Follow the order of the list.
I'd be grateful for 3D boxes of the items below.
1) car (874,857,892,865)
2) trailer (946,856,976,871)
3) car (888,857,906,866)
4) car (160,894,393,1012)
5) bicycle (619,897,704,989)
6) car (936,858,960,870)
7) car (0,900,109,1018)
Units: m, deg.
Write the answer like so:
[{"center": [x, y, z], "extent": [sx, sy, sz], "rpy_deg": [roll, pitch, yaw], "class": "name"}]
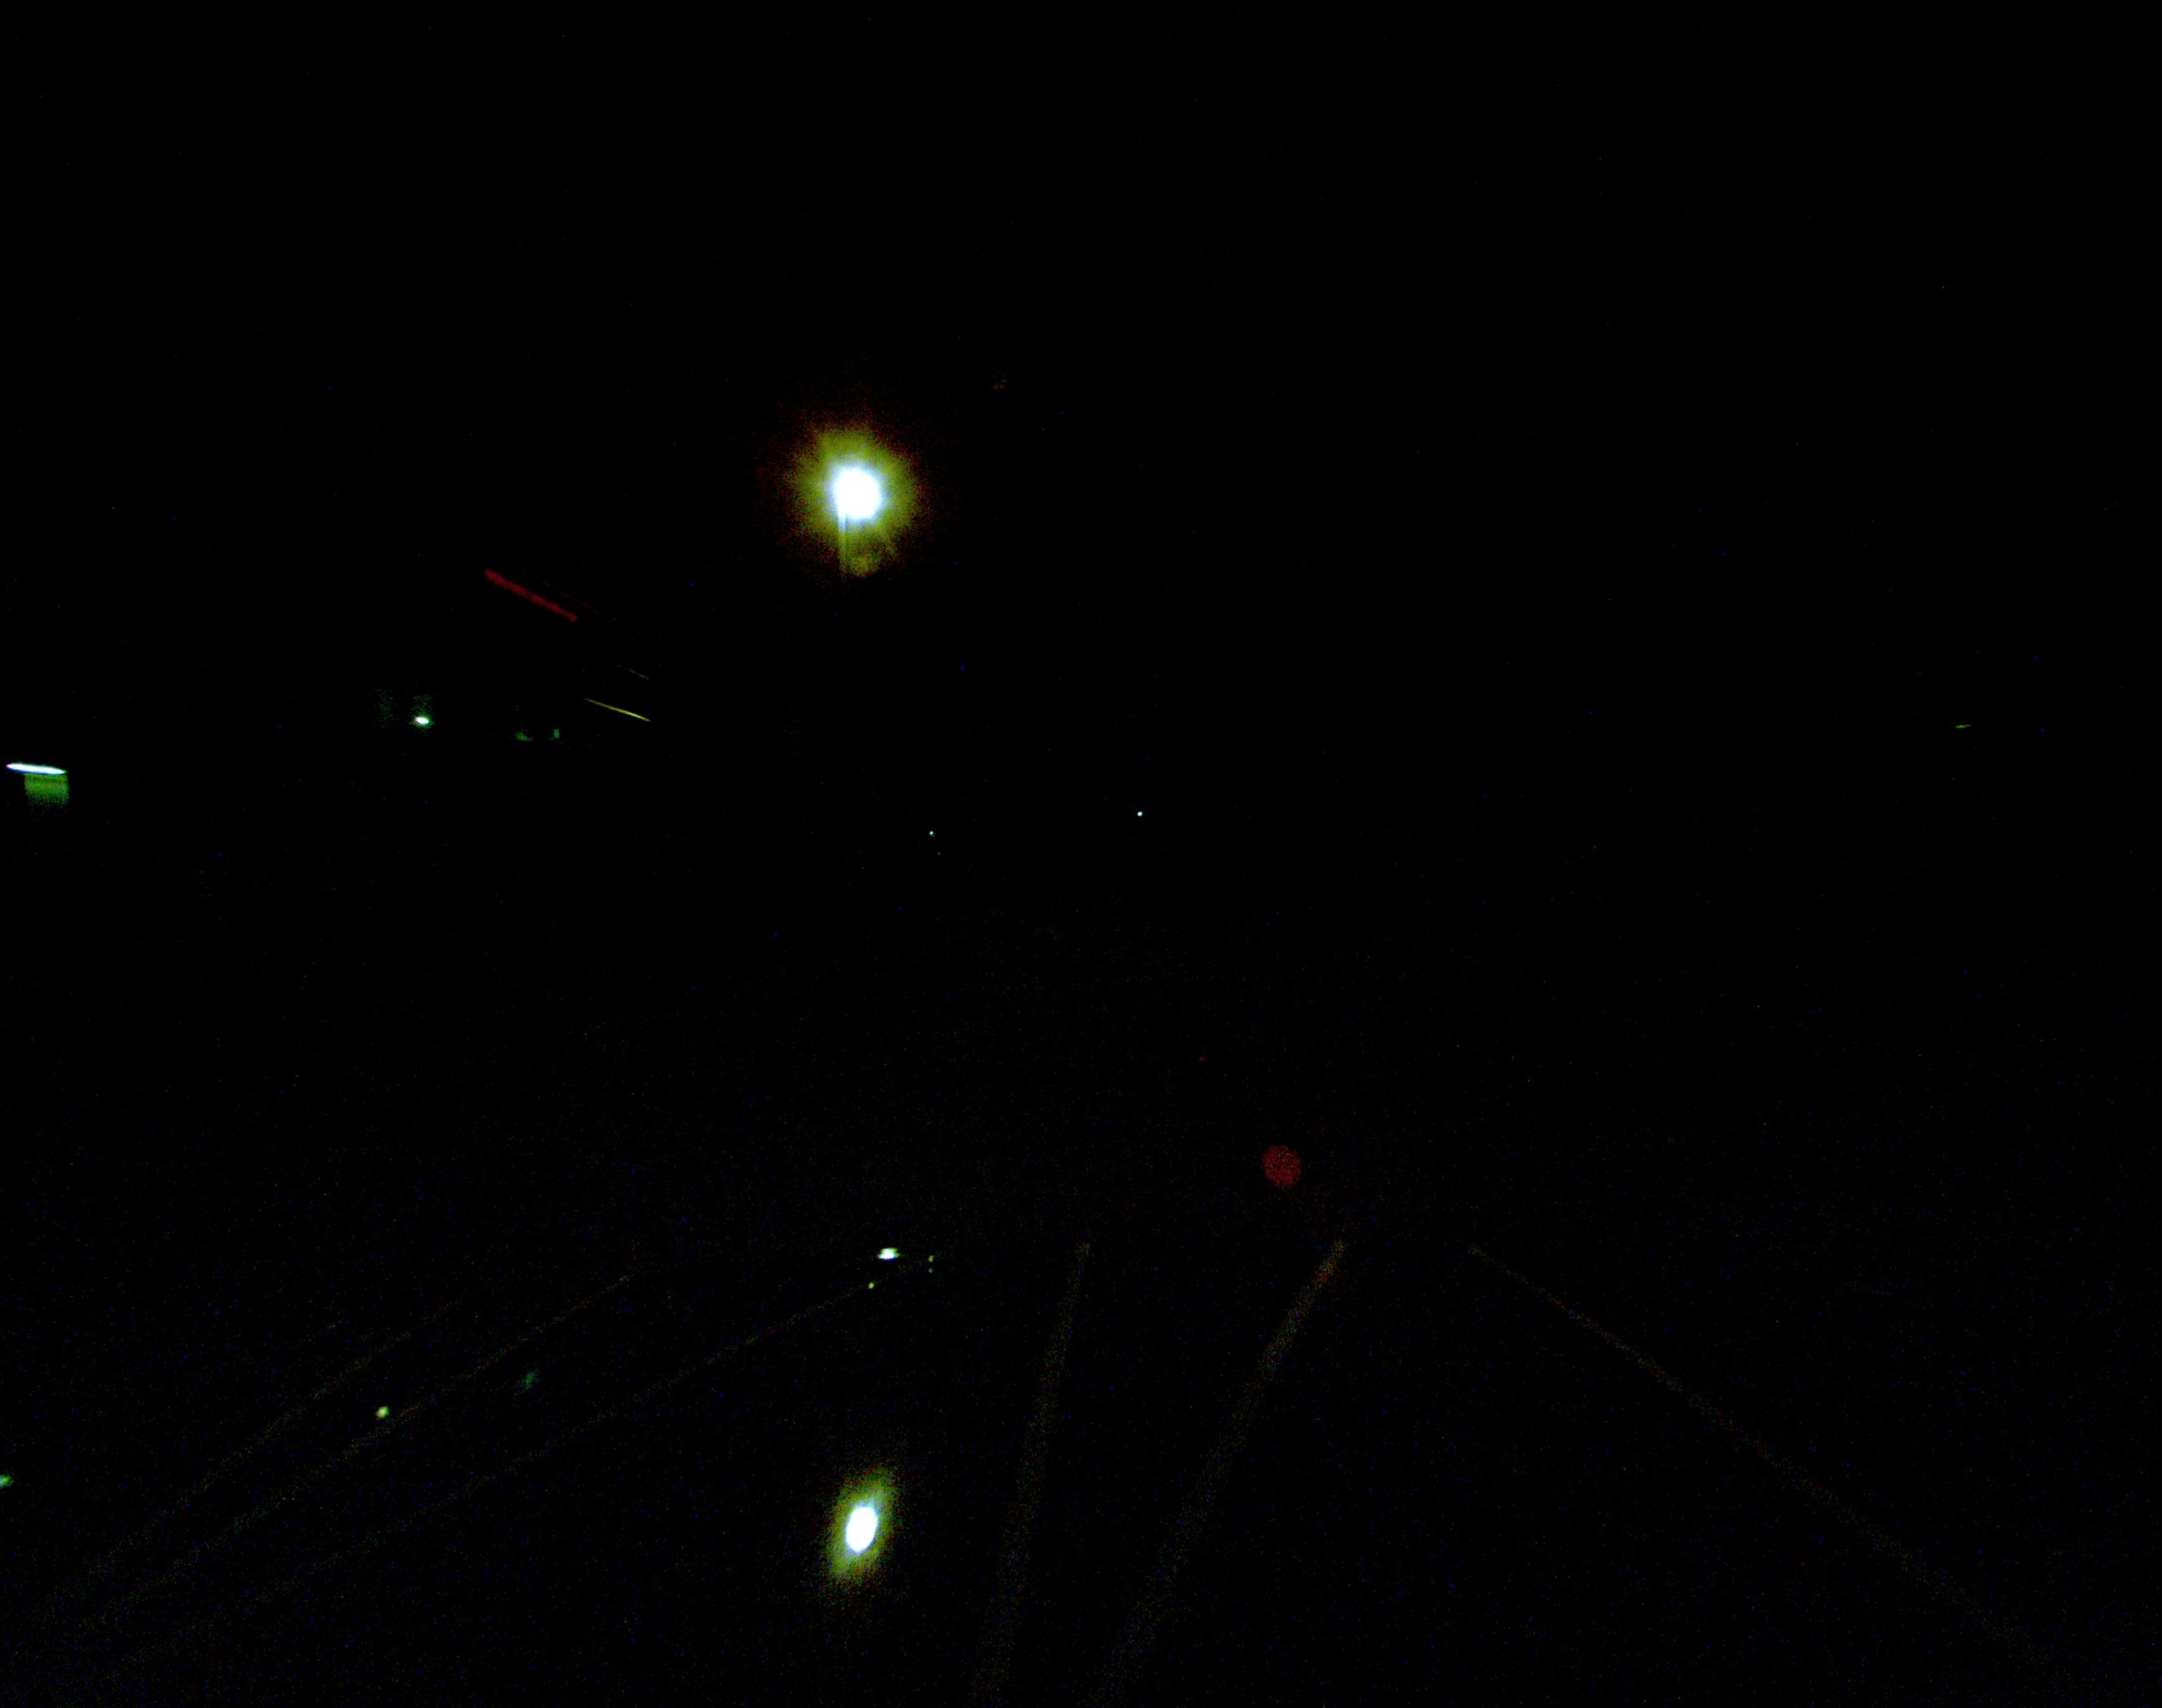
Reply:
[{"center": [-34.126, 1.199, 131.131], "extent": [1.910, 1.357, 4.972], "rpy_deg": [1, 0, -28], "class": "car"}, {"center": [-15.752, 1.215, 99.434], "extent": [2.034, 1.770, 5.660], "rpy_deg": [0, 0, -29], "class": "trailer"}, {"center": [-30.617, 1.312, 126.119], "extent": [1.737, 1.357, 4.135], "rpy_deg": [1, 0, -30], "class": "car"}, {"center": [-13.176, 1.505, 12.734], "extent": [1.711, 1.496, 3.585], "rpy_deg": [-2, 0, -31], "class": "car"}, {"center": [-5.793, 1.186, 10.604], "extent": [0.296, 0.977, 1.943], "rpy_deg": [-1, 3, -7], "class": "bicycle"}, {"center": [-18.232, 1.333, 103.978], "extent": [1.725, 1.567, 4.523], "rpy_deg": [2, 0, -30], "class": "car"}, {"center": [-15.908, 1.522, 10.267], "extent": [1.926, 1.555, 4.402], "rpy_deg": [-2, 0, -31], "class": "car"}]
